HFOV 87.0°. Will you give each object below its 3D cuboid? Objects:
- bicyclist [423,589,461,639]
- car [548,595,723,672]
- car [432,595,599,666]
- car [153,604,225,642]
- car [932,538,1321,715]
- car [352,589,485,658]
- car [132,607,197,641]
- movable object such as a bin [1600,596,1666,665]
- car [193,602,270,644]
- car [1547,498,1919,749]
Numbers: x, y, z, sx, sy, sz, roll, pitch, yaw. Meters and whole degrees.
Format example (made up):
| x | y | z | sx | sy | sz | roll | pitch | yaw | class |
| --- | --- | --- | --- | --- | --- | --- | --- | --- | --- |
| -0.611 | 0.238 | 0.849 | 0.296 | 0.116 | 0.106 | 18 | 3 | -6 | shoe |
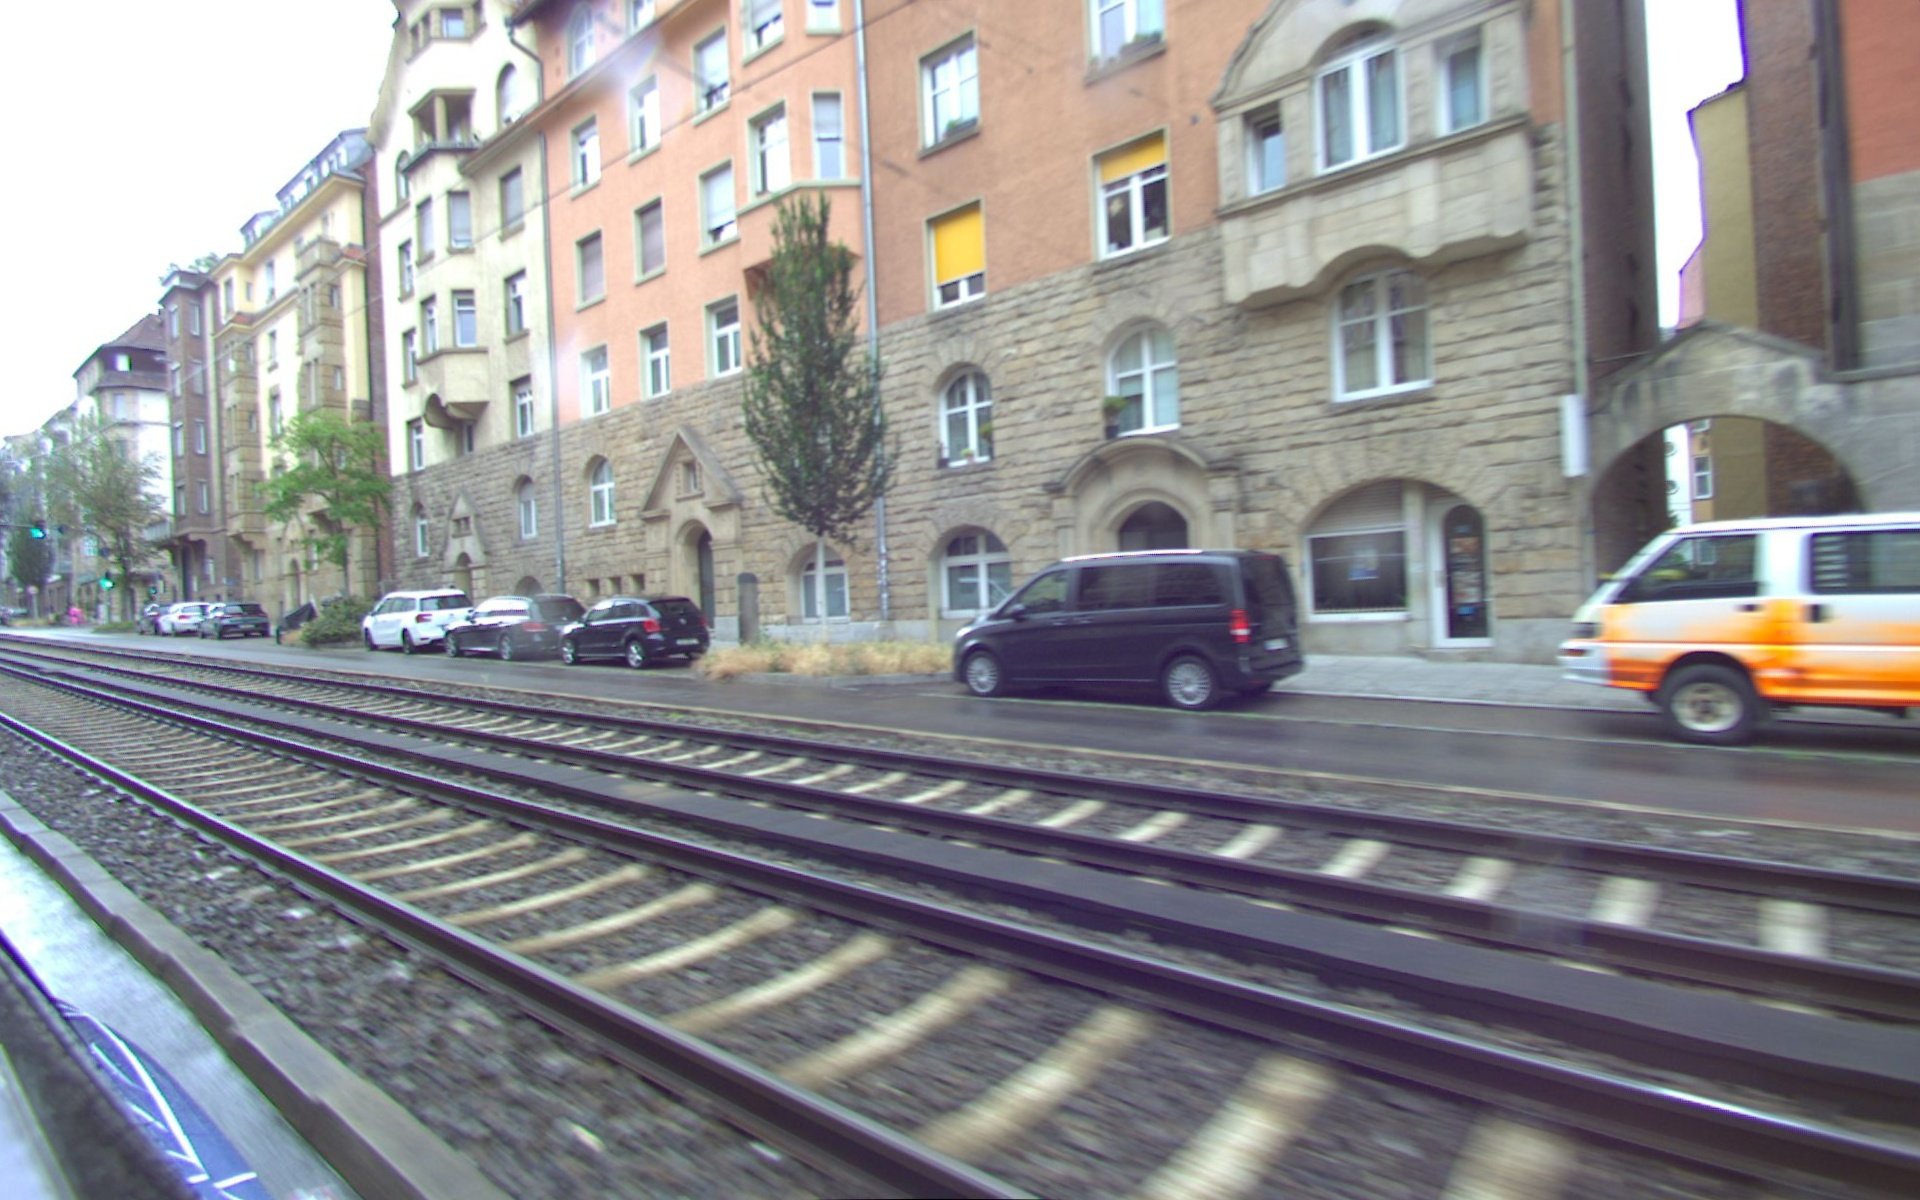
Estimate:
| x | y | z | sx | sy | sz | roll | pitch | yaw | class |
| --- | --- | --- | --- | --- | --- | --- | --- | --- | --- |
| -17.080 | 0.452 | 33.378 | 0.774 | 1.613 | 0.883 | 0 | 0 | 41 | bicyclist |
| -6.912 | 0.658 | 21.433 | 3.690 | 1.414 | 1.739 | 0 | 3 | 38 | car |
| -10.798 | 0.676 | 24.429 | 4.593 | 1.502 | 1.738 | 0 | 2 | 39 | car |
| -33.770 | 0.970 | 44.291 | 4.043 | 1.462 | 1.737 | 0 | 3 | 42 | car |
| 2.049 | 0.293 | 13.427 | 4.829 | 1.945 | 1.886 | 0 | 0 | 40 | car |
| -15.114 | 0.622 | 28.139 | 4.257 | 1.684 | 1.738 | 0 | 3 | 40 | car |
| -37.470 | 1.089 | 47.627 | 3.712 | 1.438 | 1.737 | 0 | 3 | 42 | car |
| 9.185 | 0.401 | 13.815 | 0.656 | 0.905 | 0.540 | 0 | 0 | 44 | movable object such as a bin |
| -29.121 | 0.881 | 40.408 | 3.712 | 1.493 | 1.695 | 0 | 3 | 42 | car |
| 7.747 | 0.178 | 8.695 | 4.472 | 1.945 | 1.711 | 0 | 0 | 40 | car |
